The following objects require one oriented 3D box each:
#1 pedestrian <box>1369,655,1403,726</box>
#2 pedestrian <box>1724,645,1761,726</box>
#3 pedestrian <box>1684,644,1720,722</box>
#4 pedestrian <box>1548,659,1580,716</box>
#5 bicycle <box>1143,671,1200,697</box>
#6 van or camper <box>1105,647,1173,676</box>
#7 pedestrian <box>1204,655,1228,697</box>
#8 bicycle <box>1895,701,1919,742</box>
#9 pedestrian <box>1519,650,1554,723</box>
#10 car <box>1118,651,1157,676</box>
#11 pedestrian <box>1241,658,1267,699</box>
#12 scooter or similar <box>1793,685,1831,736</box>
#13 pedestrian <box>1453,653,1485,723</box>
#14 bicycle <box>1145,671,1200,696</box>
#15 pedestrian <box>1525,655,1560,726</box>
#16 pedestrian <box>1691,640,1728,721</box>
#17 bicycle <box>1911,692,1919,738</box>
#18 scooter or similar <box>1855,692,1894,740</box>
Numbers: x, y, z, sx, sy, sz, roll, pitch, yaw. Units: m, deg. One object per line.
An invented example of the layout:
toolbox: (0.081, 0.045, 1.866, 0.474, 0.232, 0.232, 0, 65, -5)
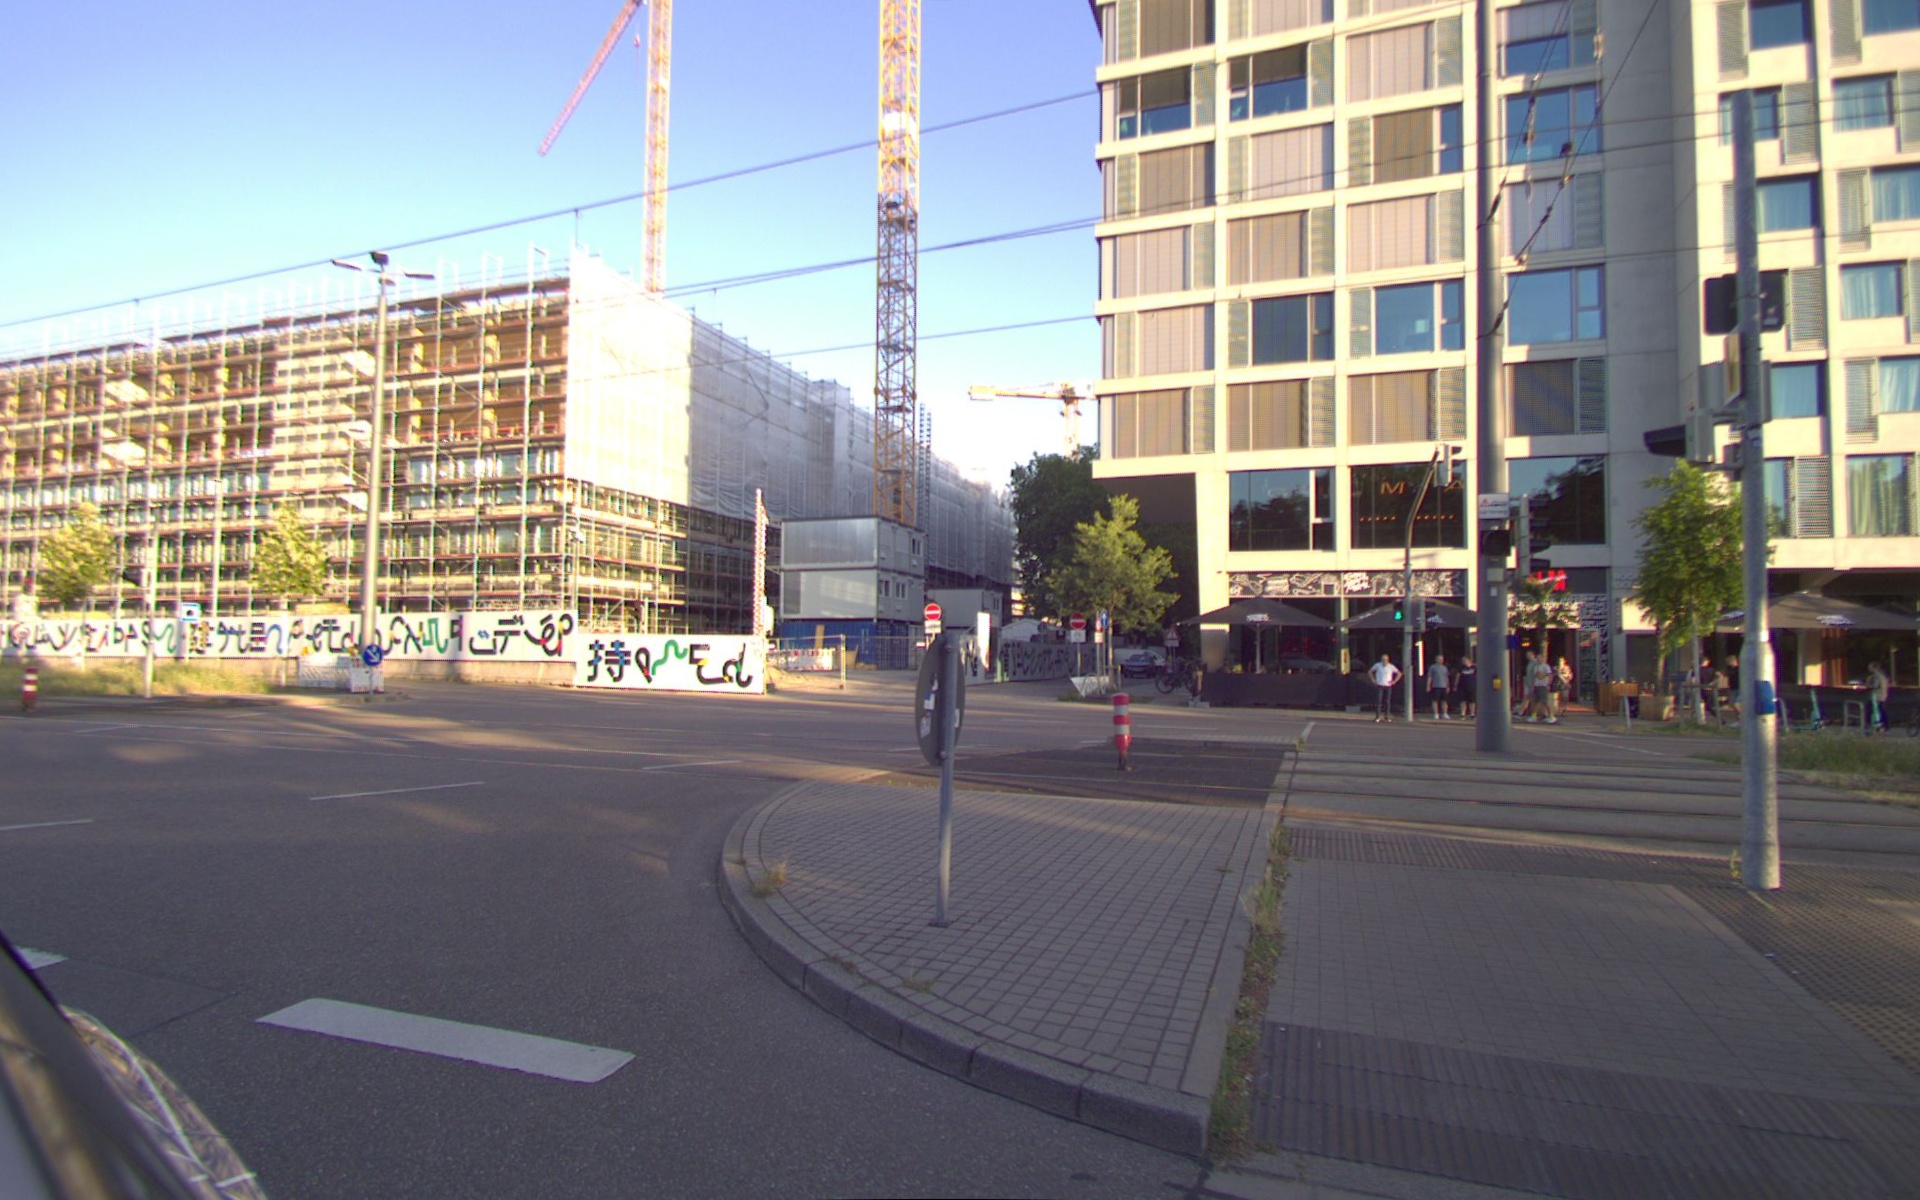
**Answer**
pedestrian: (11.456, 2.411, 27.257, 0.756, 1.850, 0.704, 0, -1, 17)
pedestrian: (20.114, 2.185, 26.025, 0.494, 2.029, 0.553, 2, -4, -29)
pedestrian: (19.616, 2.176, 26.762, 0.494, 2.029, 0.553, 2, -4, -29)
pedestrian: (17.735, 2.554, 29.727, 0.705, 1.616, 0.675, -1, -1, 26)
bicycle: (7.713, 3.059, 36.925, 1.962, 0.881, 0.392, -2, -2, 18)
van or camper: (14.150, 4.856, 80.050, 4.916, 2.139, 2.476, -3, -4, 19)
pedestrian: (9.142, 2.692, 36.118, 0.766, 1.474, 0.602, -1, -4, 19)
bicycle: (22.445, 2.840, 23.360, 0.439, 0.877, 1.861, 0, -2, 15)
pedestrian: (15.843, 2.353, 27.830, 0.703, 1.938, 0.676, 0, -1, 20)
car: (11.761, 4.185, 66.859, 1.993, 1.610, 3.682, 0, -3, 19)
pedestrian: (10.423, 2.773, 35.893, 0.762, 1.425, 0.605, 0, -3, 3)
scooter or similar: (20.450, 2.638, 24.302, 0.335, 1.093, 0.969, 2, 0, 19)
pedestrian: (13.930, 2.400, 27.715, 0.675, 1.850, 0.704, 0, -1, 17)
bicycle: (7.930, 3.124, 37.795, 1.962, 0.881, 0.392, -2, -2, 18)
pedestrian: (15.644, 2.420, 27.174, 0.703, 1.836, 0.613, -1, -1, 21)
pedestrian: (19.036, 2.045, 25.717, 0.494, 2.029, 0.553, 2, -4, -29)
bicycle: (22.829, 2.713, 23.347, 0.439, 1.067, 1.905, 0, -2, 15)
scooter or similar: (21.410, 2.712, 23.708, 0.289, 1.041, 1.003, 1, -2, 19)
